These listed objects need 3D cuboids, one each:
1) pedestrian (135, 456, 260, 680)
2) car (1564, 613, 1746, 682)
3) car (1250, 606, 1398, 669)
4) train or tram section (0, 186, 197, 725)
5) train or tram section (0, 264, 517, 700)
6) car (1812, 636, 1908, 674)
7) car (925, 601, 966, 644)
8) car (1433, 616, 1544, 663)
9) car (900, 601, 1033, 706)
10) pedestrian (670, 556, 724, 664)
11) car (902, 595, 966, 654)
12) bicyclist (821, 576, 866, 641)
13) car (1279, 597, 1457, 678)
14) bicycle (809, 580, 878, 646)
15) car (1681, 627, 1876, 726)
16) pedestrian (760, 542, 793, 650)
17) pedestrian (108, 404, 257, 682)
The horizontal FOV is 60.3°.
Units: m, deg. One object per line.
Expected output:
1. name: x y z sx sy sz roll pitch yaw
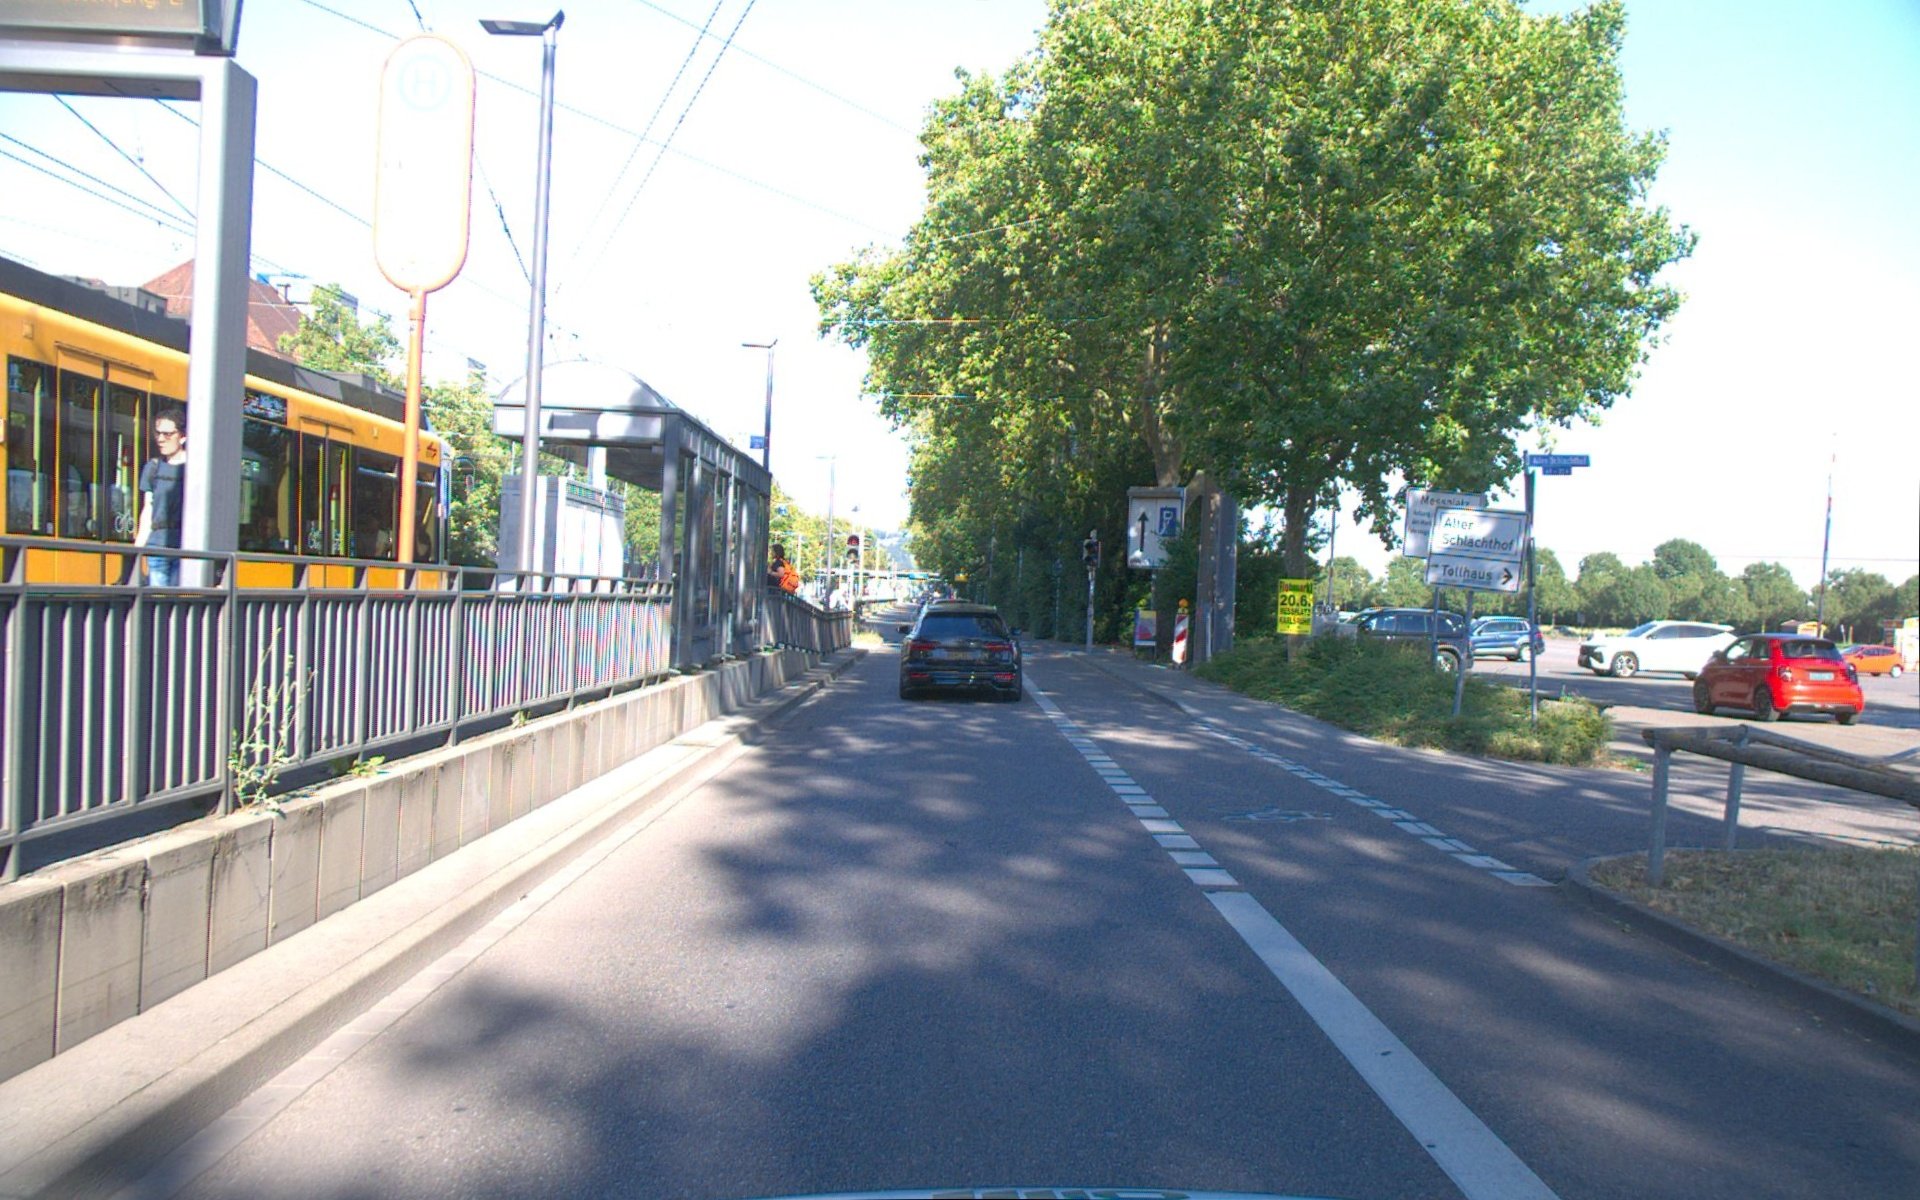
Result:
1. pedestrian: -6.162 -0.257 13.393 0.644 1.743 0.613 3 0 -1
2. car: 19.840 1.337 47.370 4.366 1.687 1.918 3 0 3
3. car: 9.671 0.987 44.085 3.521 1.488 1.678 3 0 0
4. train or tram section: -8.533 -1.104 9.091 3.242 3.896 11.840 3 0 -1
5. train or tram section: -8.802 -1.118 20.993 3.242 3.896 11.840 3 0 -1
6. car: 43.446 2.631 79.849 3.739 1.629 1.649 3 0 -4
7. car: -0.769 1.112 84.155 1.953 2.049 3.999 3 0 -1
8. car: 20.486 1.520 64.196 3.735 1.637 1.670 3 0 -1
9. car: 0.032 0.780 25.641 1.841 1.482 3.354 1 0 -3
10. pedestrian: -3.328 0.123 20.955 0.555 1.315 0.500 3 0 -1
11. car: -0.837 0.719 50.493 1.728 1.647 3.997 3 0 -3
12. bicyclist: -3.237 0.244 46.056 0.758 1.746 0.903 2 0 44
13. car: 10.092 0.924 41.135 3.906 1.795 1.833 3 0 -1
14. bicycle: -3.238 0.375 46.047 0.581 1.746 1.959 2 0 44
15. car: 14.791 1.337 30.122 1.581 1.542 3.802 3 0 -1
16. pedestrian: -3.011 -0.064 27.177 0.403 1.746 0.665 3 0 -1
17. pedestrian: -5.096 -0.365 10.870 0.599 1.743 0.659 3 0 -3
